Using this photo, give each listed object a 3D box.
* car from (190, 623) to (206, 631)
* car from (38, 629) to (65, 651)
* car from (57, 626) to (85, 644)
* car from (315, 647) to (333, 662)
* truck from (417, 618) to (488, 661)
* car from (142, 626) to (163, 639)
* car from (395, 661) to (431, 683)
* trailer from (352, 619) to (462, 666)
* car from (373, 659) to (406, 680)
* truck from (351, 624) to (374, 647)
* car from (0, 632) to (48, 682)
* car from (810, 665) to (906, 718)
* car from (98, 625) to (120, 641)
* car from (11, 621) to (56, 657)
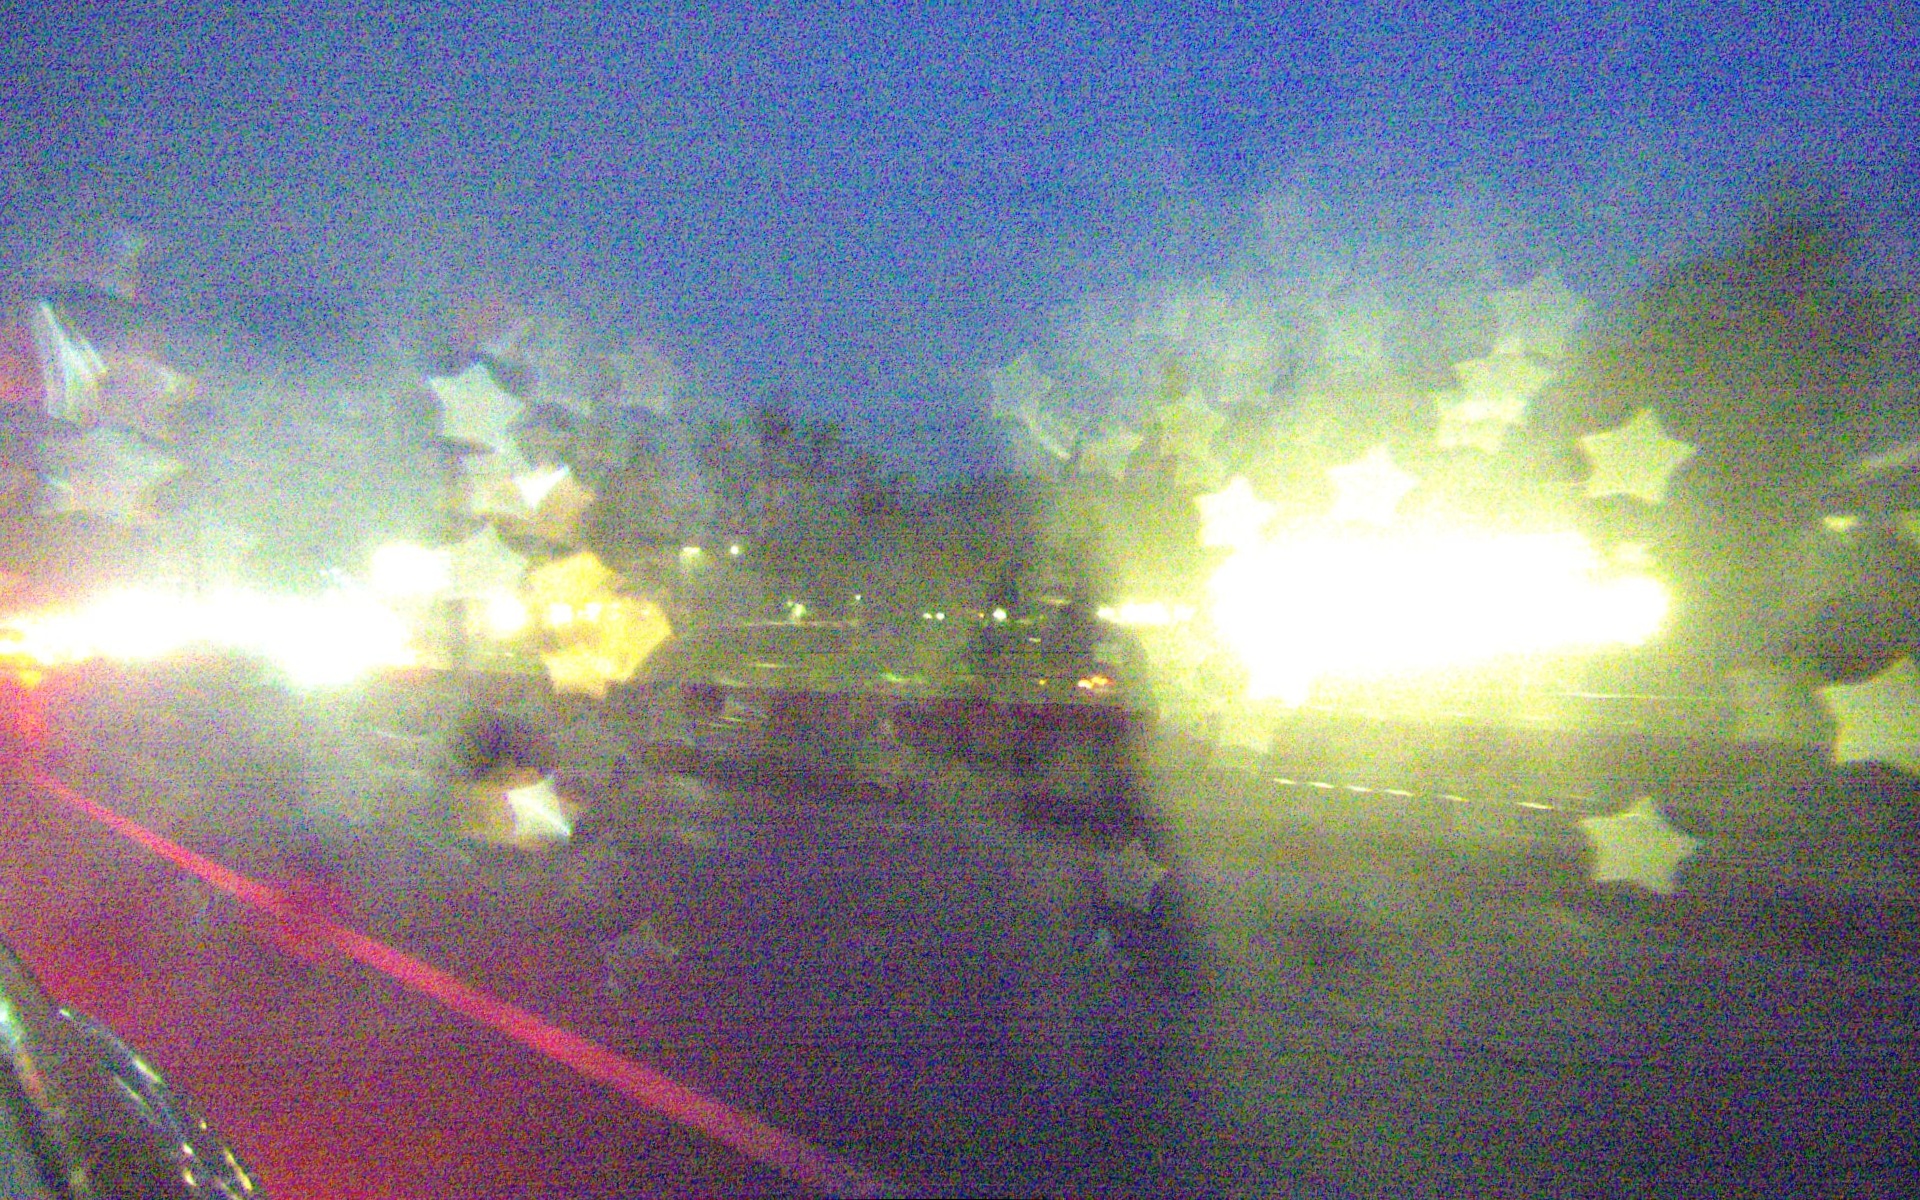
[{"bbox_3d":[-149.706,5.372,198.741,1.760,1.490,3.692,-1,0,-26],"label":"car"},{"bbox_3d":[-75.253,3.280,83.824,1.667,1.693,3.472,0,-1,-42],"label":"car"},{"bbox_3d":[-85.193,3.338,97.019,1.794,1.571,4.186,-1,0,-39],"label":"car"},{"bbox_3d":[-80.947,6.921,128.871,1.784,1.688,4.304,-1,0,-34],"label":"car"},{"bbox_3d":[-60.670,4.681,121.220,3.316,4.832,7.263,-1,0,23],"label":"truck"},{"bbox_3d":[-119.400,4.747,149.709,1.966,1.819,4.609,-1,0,-32],"label":"car"},{"bbox_3d":[-47.237,6.171,87.352,1.786,1.582,4.298,-1,0,-42],"label":"car"},{"bbox_3d":[-62.995,4.710,115.678,3.316,4.832,11.468,-1,0,22],"label":"trailer"},{"bbox_3d":[-54.015,6.530,95.766,1.786,1.688,4.298,-1,0,-42],"label":"car"},{"bbox_3d":[-95.545,5.675,161.870,2.717,3.509,8.130,-1,-1,-28],"label":"truck"},{"bbox_3d":[-33.690,1.975,35.584,4.611,1.625,1.972,-1,-1,43],"label":"car"},{"bbox_3d":[-4.543,3.982,44.744,3.995,2.029,1.974,-1,0,39],"label":"car"},{"bbox_3d":[-99.625,3.828,118.527,1.765,1.635,4.386,0,1,-37],"label":"car"},{"bbox_3d":[-57.118,2.366,62.382,1.970,2.090,4.004,-1,0,-43],"label":"car"}]
